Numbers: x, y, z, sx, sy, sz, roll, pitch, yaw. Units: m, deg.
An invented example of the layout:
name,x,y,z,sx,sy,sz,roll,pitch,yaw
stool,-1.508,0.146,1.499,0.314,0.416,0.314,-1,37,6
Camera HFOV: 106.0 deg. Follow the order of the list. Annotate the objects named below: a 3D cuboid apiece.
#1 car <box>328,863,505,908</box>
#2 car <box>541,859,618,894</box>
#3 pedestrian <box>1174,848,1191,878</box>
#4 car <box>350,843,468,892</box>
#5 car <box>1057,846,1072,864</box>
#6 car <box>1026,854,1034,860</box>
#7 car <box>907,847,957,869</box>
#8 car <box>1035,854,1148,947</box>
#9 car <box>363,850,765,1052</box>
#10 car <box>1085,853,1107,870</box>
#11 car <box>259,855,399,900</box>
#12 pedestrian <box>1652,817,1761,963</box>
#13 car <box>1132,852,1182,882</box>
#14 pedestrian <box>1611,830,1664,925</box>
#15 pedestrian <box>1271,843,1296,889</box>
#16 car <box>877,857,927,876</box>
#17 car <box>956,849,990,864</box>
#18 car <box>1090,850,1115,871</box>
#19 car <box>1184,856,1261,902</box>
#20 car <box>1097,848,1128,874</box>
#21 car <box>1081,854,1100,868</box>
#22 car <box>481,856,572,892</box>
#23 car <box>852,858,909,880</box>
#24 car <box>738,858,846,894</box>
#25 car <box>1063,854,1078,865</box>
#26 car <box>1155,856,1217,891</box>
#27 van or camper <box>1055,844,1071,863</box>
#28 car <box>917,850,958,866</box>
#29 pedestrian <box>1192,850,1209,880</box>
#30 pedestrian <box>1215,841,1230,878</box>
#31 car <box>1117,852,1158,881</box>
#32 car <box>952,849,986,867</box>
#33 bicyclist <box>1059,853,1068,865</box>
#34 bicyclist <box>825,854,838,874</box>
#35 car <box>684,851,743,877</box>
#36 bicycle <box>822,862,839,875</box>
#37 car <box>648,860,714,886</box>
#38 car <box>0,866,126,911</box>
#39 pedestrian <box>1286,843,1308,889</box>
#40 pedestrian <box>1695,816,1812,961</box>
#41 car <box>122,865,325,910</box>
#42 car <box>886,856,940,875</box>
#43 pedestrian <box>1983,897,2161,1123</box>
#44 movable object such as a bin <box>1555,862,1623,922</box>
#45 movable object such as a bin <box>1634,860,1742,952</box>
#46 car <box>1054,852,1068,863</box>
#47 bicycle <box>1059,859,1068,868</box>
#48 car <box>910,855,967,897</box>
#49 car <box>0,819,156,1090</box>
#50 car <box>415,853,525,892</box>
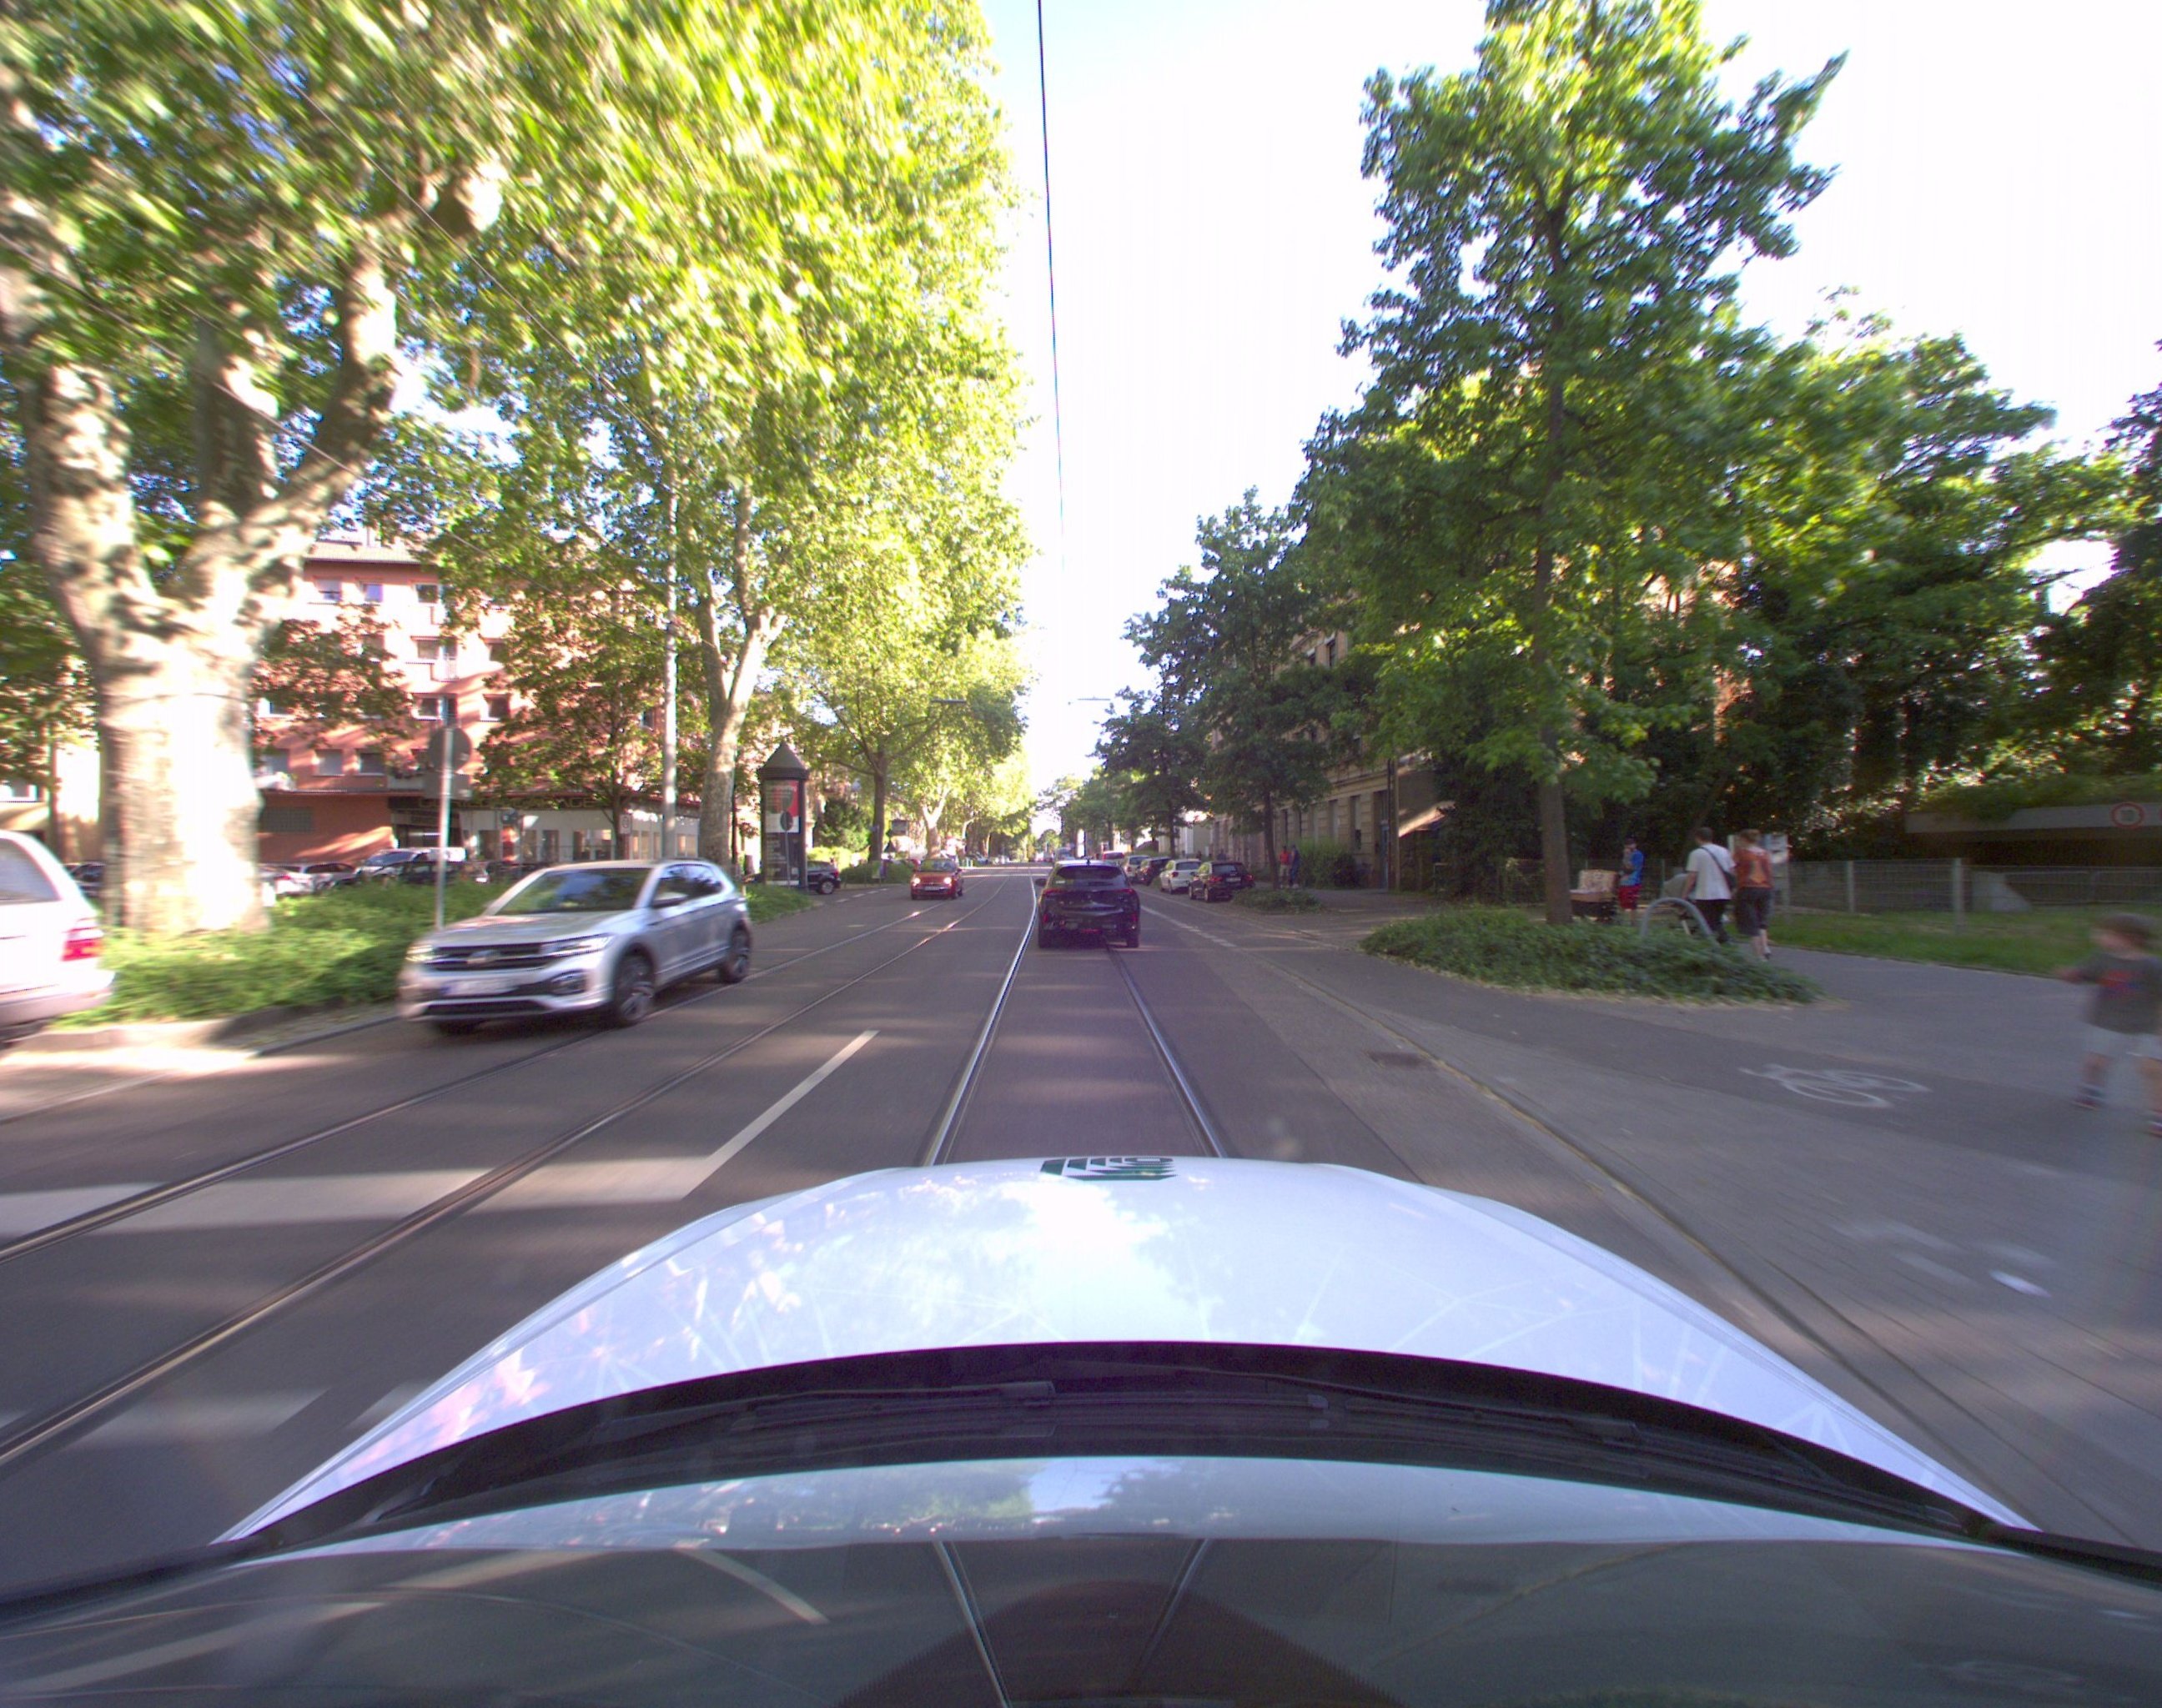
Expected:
name,x,y,z,sx,sy,sz,roll,pitch,yaw
car,-23.608,1.091,29.090,4.527,1.489,1.854,0,0,-10
car,-22.583,0.975,36.863,1.815,1.493,3.981,0,0,-14
pedestrian,5.684,0.489,45.676,0.725,1.693,0.955,0,-1,-5
car,-29.515,0.583,36.005,1.996,2.003,4.898,0,0,-13
car,-2.646,0.192,132.072,2.081,2.772,4.691,-2,0,-4
car,-14.580,0.848,231.594,2.249,1.840,5.524,-2,0,-3
car,-15.446,0.449,84.574,5.029,2.259,2.080,0,0,-8
car,0.058,0.734,14.784,1.760,1.460,3.945,0,0,-4
car,-5.015,0.793,8.720,1.812,1.568,4.111,-2,0,-4
car,1.469,0.713,80.062,1.709,1.514,4.029,-3,0,-5
car,-32.710,0.960,35.676,1.992,1.845,4.907,0,0,-7
pedestrian,8.050,0.446,10.523,0.722,1.793,0.855,-3,0,7
car,4.118,0.703,44.907,1.881,1.467,4.585,-3,0,-6
pedestrian,10.358,0.431,15.160,0.619,1.725,0.550,0,-1,-20
pedestrian,8.069,0.481,32.459,0.603,1.793,0.720,1,-1,-39
car,-13.651,0.933,62.319,3.411,1.465,1.758,0,0,-2
car,-18.958,0.467,142.911,5.621,2.593,2.195,0,0,-1
car,1.918,0.570,74.286,1.882,1.766,4.671,-1,0,-4
car,4.943,0.838,28.925,1.670,1.412,3.835,-3,0,-5
car,2.446,0.558,65.075,1.880,1.851,4.960,-3,0,-4
car,1.041,0.738,88.780,1.699,1.423,3.972,-4,0,-4
car,-24.606,0.839,36.299,1.996,1.526,3.982,0,0,-13
car,-13.518,0.998,54.985,3.411,1.465,1.695,0,0,-2
car,-12.059,0.894,34.190,3.986,1.449,1.738,0,0,-9
car,-1.514,0.762,114.830,1.880,1.434,4.523,-3,0,-4
car,4.518,0.815,35.584,1.880,1.368,4.101,-3,0,-4
van or camper,-3.110,-0.055,138.613,2.250,3.216,5.523,-2,0,-4
car,-15.449,0.428,87.767,4.295,1.607,1.921,0,0,-7
pedestrian,6.704,0.616,45.729,0.725,1.709,0.854,0,-1,-7
pedestrian,7.055,0.277,40.610,0.722,1.793,0.602,0,-1,9
car,3.406,0.719,49.618,1.880,1.568,4.236,-3,0,-4
car,-17.877,0.653,130.259,5.026,2.374,2.078,-4,0,-4
bicyclist,-2.143,0.600,98.568,0.957,1.499,1.092,0,-1,-6
bicyclist,-19.333,0.747,63.084,0.800,1.507,1.113,0,-1,-11
car,-22.492,0.606,49.980,1.944,1.487,3.995,0,0,-3
bicycle,-19.325,1.126,62.933,0.968,0.999,2.574,0,0,-10
car,-22.335,1.028,45.598,1.944,1.407,3.887,0,0,-3
car,-34.789,1.125,27.060,3.706,1.450,1.683,0,0,-10
pedestrian,8.443,0.463,31.804,0.598,1.793,0.727,0,-1,-7
pedestrian,8.823,0.431,10.723,0.722,1.793,0.970,-3,0,7
car,-29.167,1.099,27.861,4.471,1.450,1.816,0,0,-12
car,-13.435,0.931,65.189,3.980,1.465,1.851,0,0,-5
pedestrian,5.675,0.824,4.626,0.679,1.118,0.653,0,-1,-35
movable object such as a bin,9.978,0.728,16.017,0.666,1.126,0.953,0,0,-11
movable object such as a bin,8.697,0.715,11.727,0.635,1.202,1.307,-3,0,7
car,-3.674,0.593,145.774,2.250,1.840,5.523,-2,0,-4
bicycle,-2.143,1.156,98.595,0.966,0.999,2.578,0,0,-5
car,-5.255,0.784,30.386,1.657,1.444,3.469,0,0,-3
car,-9.591,0.676,5.305,4.564,1.834,1.935,0,0,-6
car,-26.787,0.780,35.934,1.993,1.618,4.542,0,0,-10
